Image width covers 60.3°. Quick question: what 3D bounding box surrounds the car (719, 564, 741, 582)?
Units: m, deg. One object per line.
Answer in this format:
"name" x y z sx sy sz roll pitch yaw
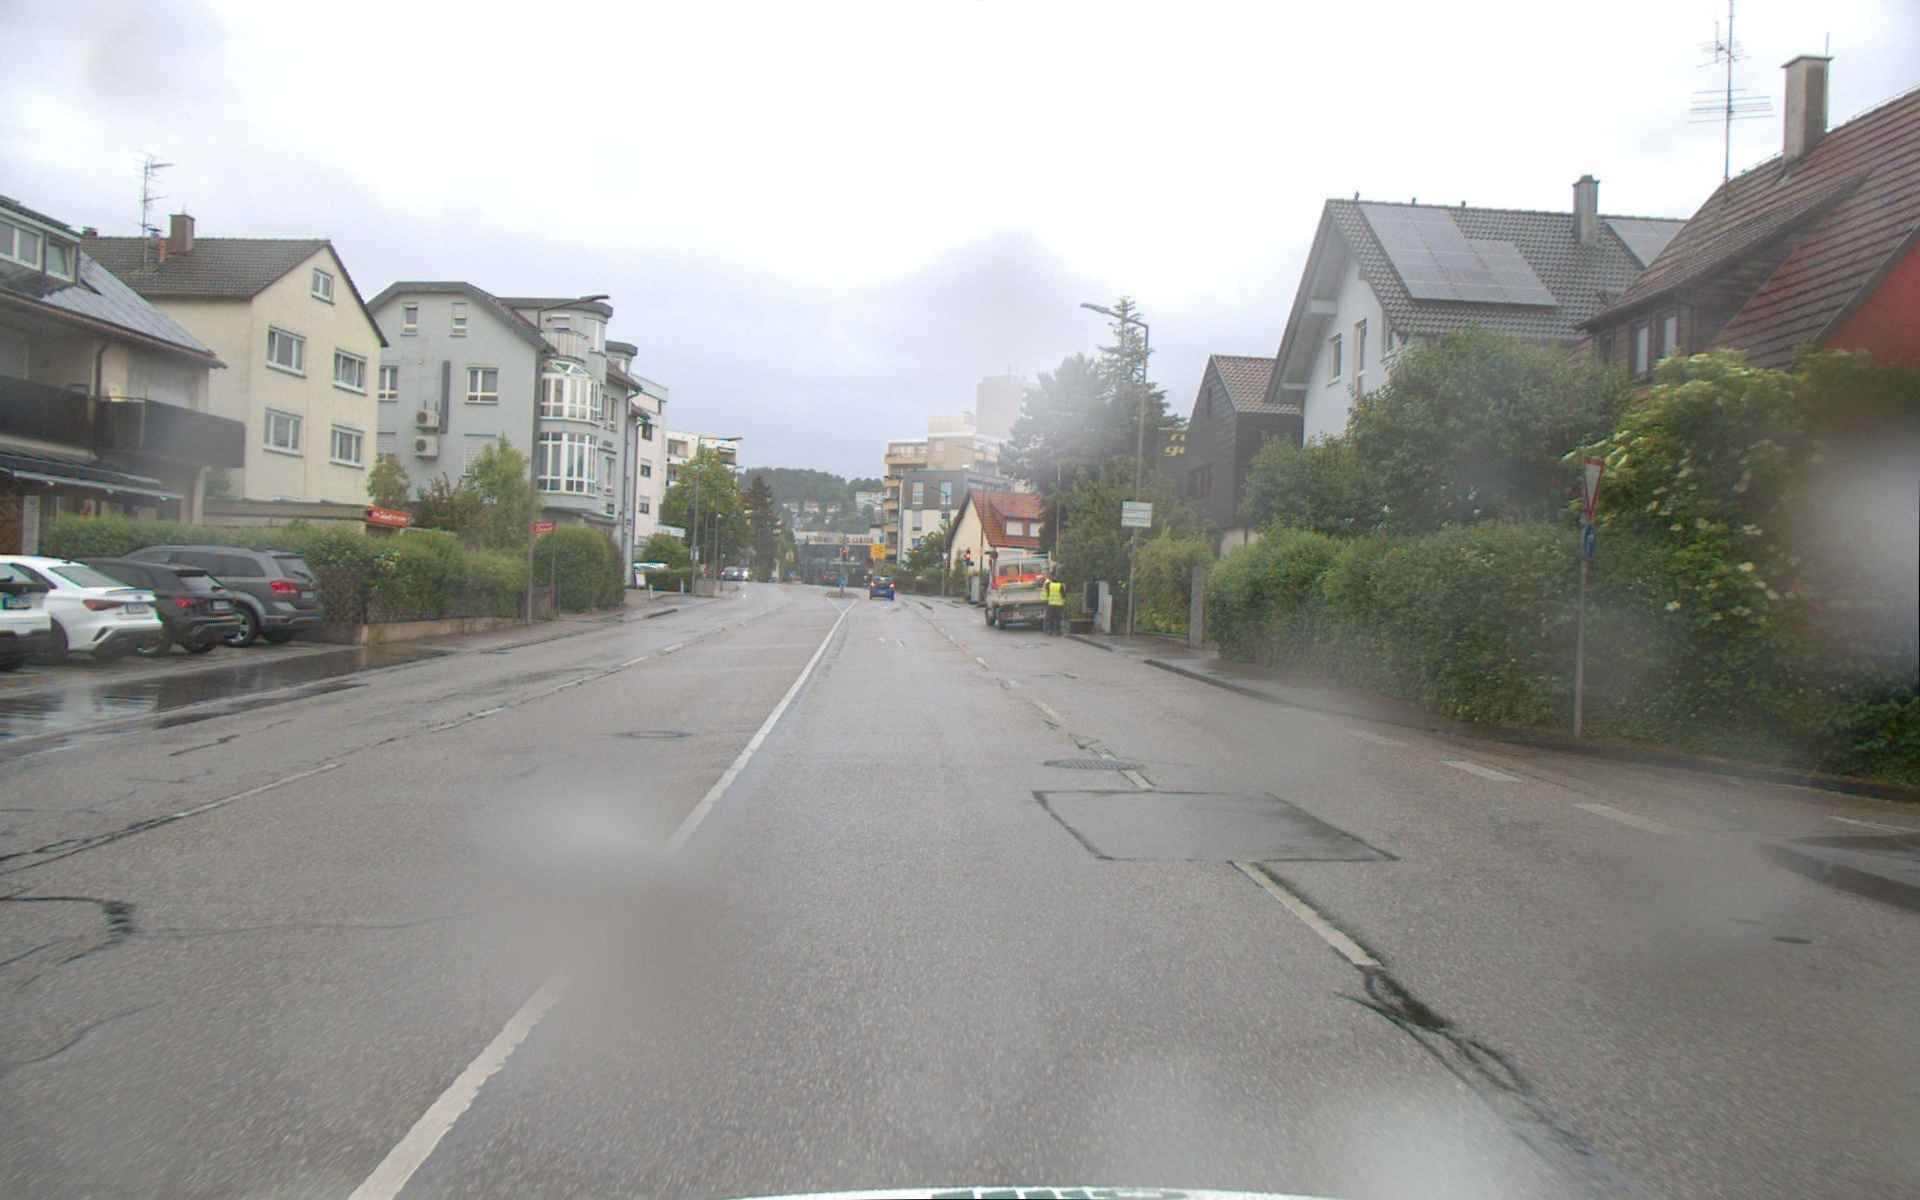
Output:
"car" -22.795 -2.681 163.830 1.627 1.488 3.998 6 -1 -2

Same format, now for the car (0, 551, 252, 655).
"car" -13.272 0.036 25.553 3.903 1.471 1.707 1 0 5

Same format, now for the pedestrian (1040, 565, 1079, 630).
"pedestrian" 2.825 -0.068 47.015 0.811 1.828 0.795 1 0 -21

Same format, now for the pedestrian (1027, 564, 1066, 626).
"pedestrian" 2.503 -0.153 47.891 0.811 1.756 0.836 1 0 -20

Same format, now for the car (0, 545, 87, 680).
"car" -13.406 0.038 20.535 4.014 1.612 1.957 3 0 2

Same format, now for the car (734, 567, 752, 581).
"car" -22.531 -2.693 171.528 1.409 1.256 3.998 3 0 -2

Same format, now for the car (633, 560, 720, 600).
"car" -16.339 -1.127 95.335 4.426 2.048 2.002 3 0 12

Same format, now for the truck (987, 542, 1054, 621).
"truck" 1.866 -0.568 51.656 1.952 2.343 4.001 1 0 1

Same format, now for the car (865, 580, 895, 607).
"car" -5.140 -0.419 106.893 1.758 1.699 3.999 1 0 -1

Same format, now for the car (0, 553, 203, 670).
"car" -13.091 0.098 23.258 3.904 1.459 1.972 3 0 4

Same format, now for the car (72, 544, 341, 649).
"car" -13.232 -0.057 29.176 3.902 1.716 1.810 1 0 6

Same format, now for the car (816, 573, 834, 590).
"car" -13.360 -1.862 163.798 1.548 1.462 3.998 6 -1 -2
